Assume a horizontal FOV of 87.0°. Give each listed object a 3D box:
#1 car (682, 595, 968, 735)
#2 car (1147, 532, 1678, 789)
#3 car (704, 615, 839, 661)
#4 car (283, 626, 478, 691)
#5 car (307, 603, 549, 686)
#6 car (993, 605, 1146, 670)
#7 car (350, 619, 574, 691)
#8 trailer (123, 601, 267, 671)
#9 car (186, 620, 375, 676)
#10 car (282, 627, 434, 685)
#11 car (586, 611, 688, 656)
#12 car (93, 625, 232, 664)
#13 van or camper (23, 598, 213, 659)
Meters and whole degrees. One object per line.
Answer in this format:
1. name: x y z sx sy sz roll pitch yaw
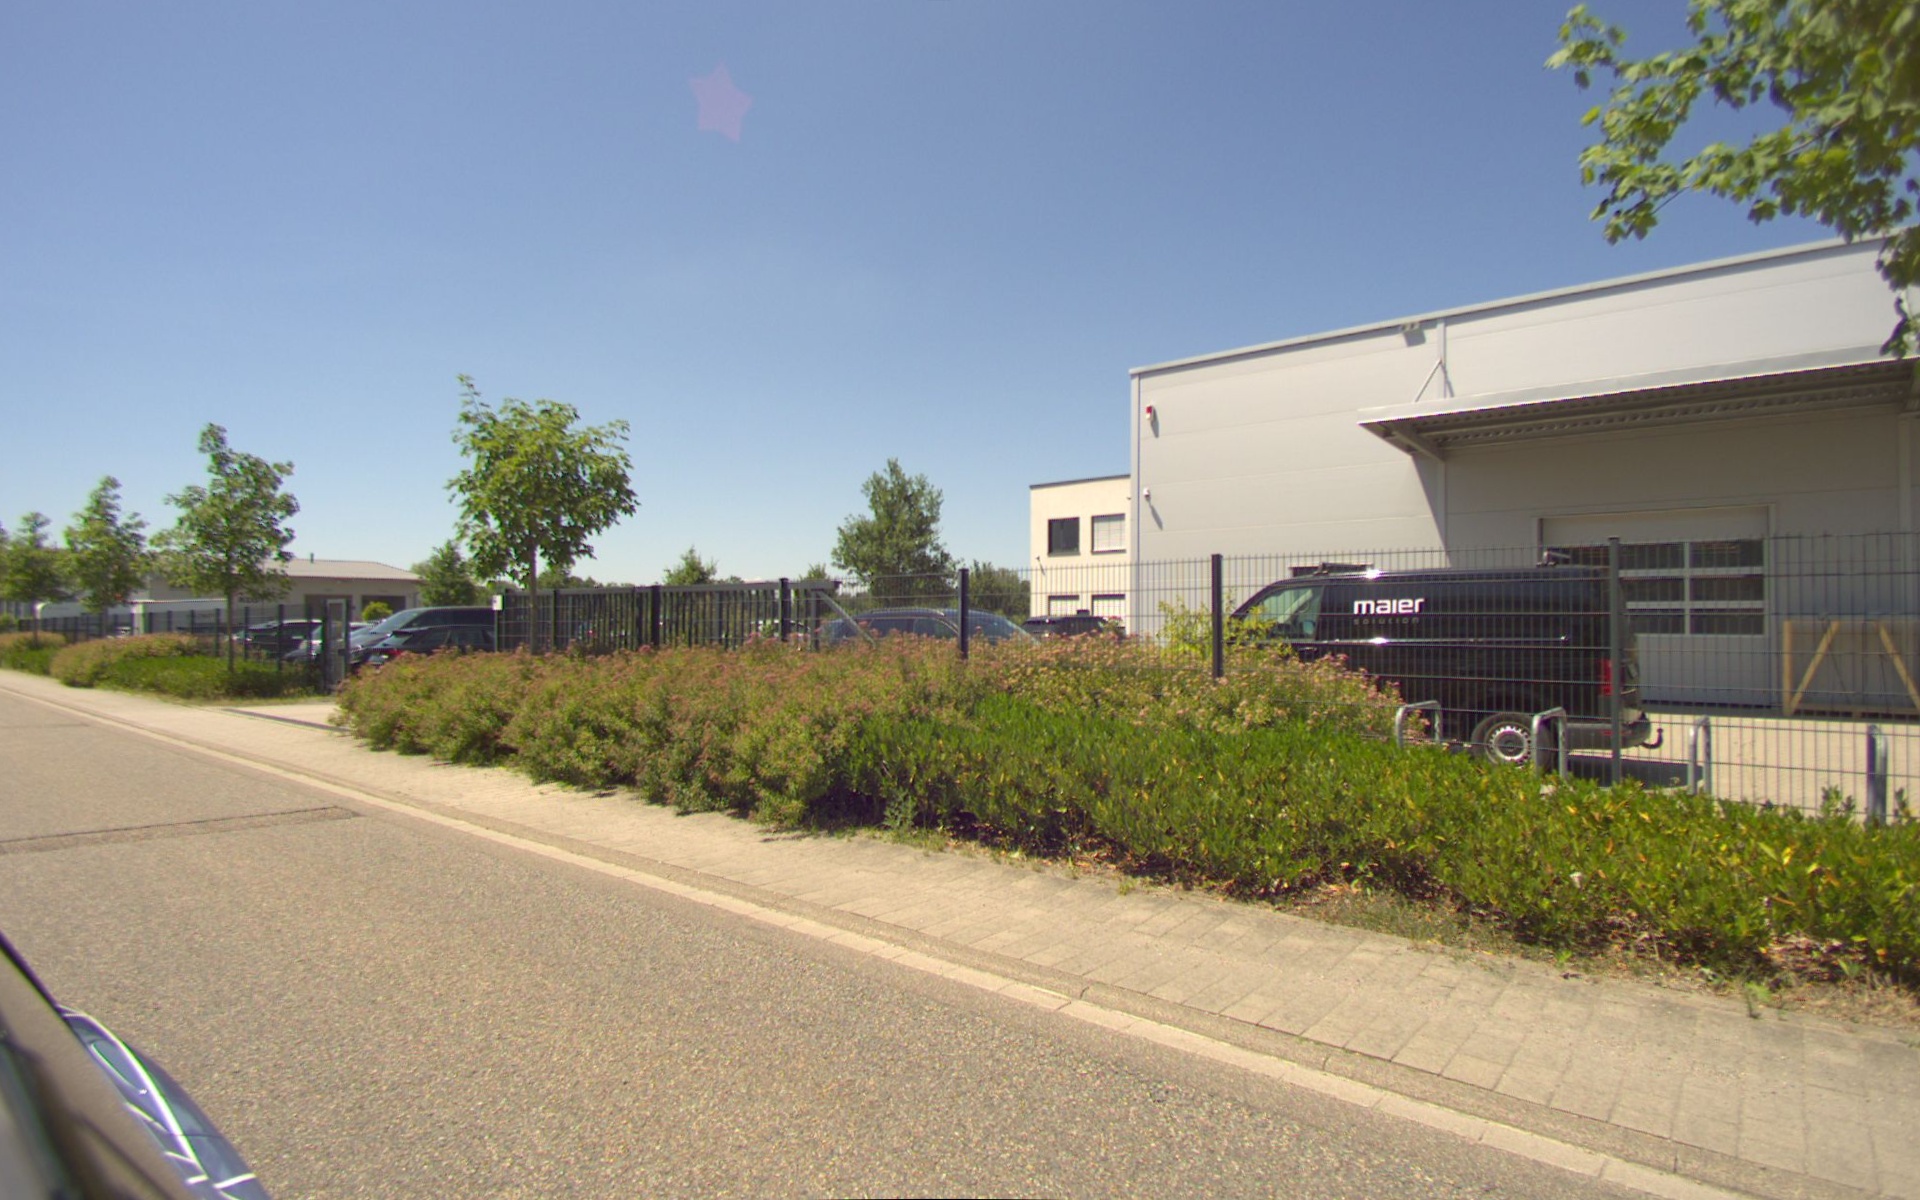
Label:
1. car: -2.056 0.844 14.676 4.091 1.736 1.972 -1 -1 43
2. car: 4.537 0.521 10.649 4.693 2.114 1.979 -1 0 43
3. car: -6.100 1.215 33.063 1.879 1.361 4.065 -2 -1 40
4. car: -15.432 1.500 27.126 1.903 1.510 4.150 -2 -1 40
5. car: -13.166 1.033 25.316 1.963 1.865 5.008 -2 -1 40
6. car: 2.884 0.914 26.020 1.999 1.508 4.047 -2 -1 40
7. car: -11.446 1.204 23.501 1.963 1.457 4.261 -2 -1 40
8. trailer: -28.437 1.281 37.724 1.724 2.378 3.950 -1 0 38
9. car: -21.597 1.478 32.310 1.999 1.641 4.683 -2 -2 41
10. car: -17.347 1.566 29.242 1.903 1.510 3.336 -2 -1 40
11. car: -12.140 1.244 38.205 1.476 1.596 3.436 -2 -1 40
12. car: -32.606 1.788 41.483 1.774 1.463 4.167 -2 -2 37
13. van or camper: -40.361 1.353 48.707 2.574 2.704 6.705 -2 -2 41
